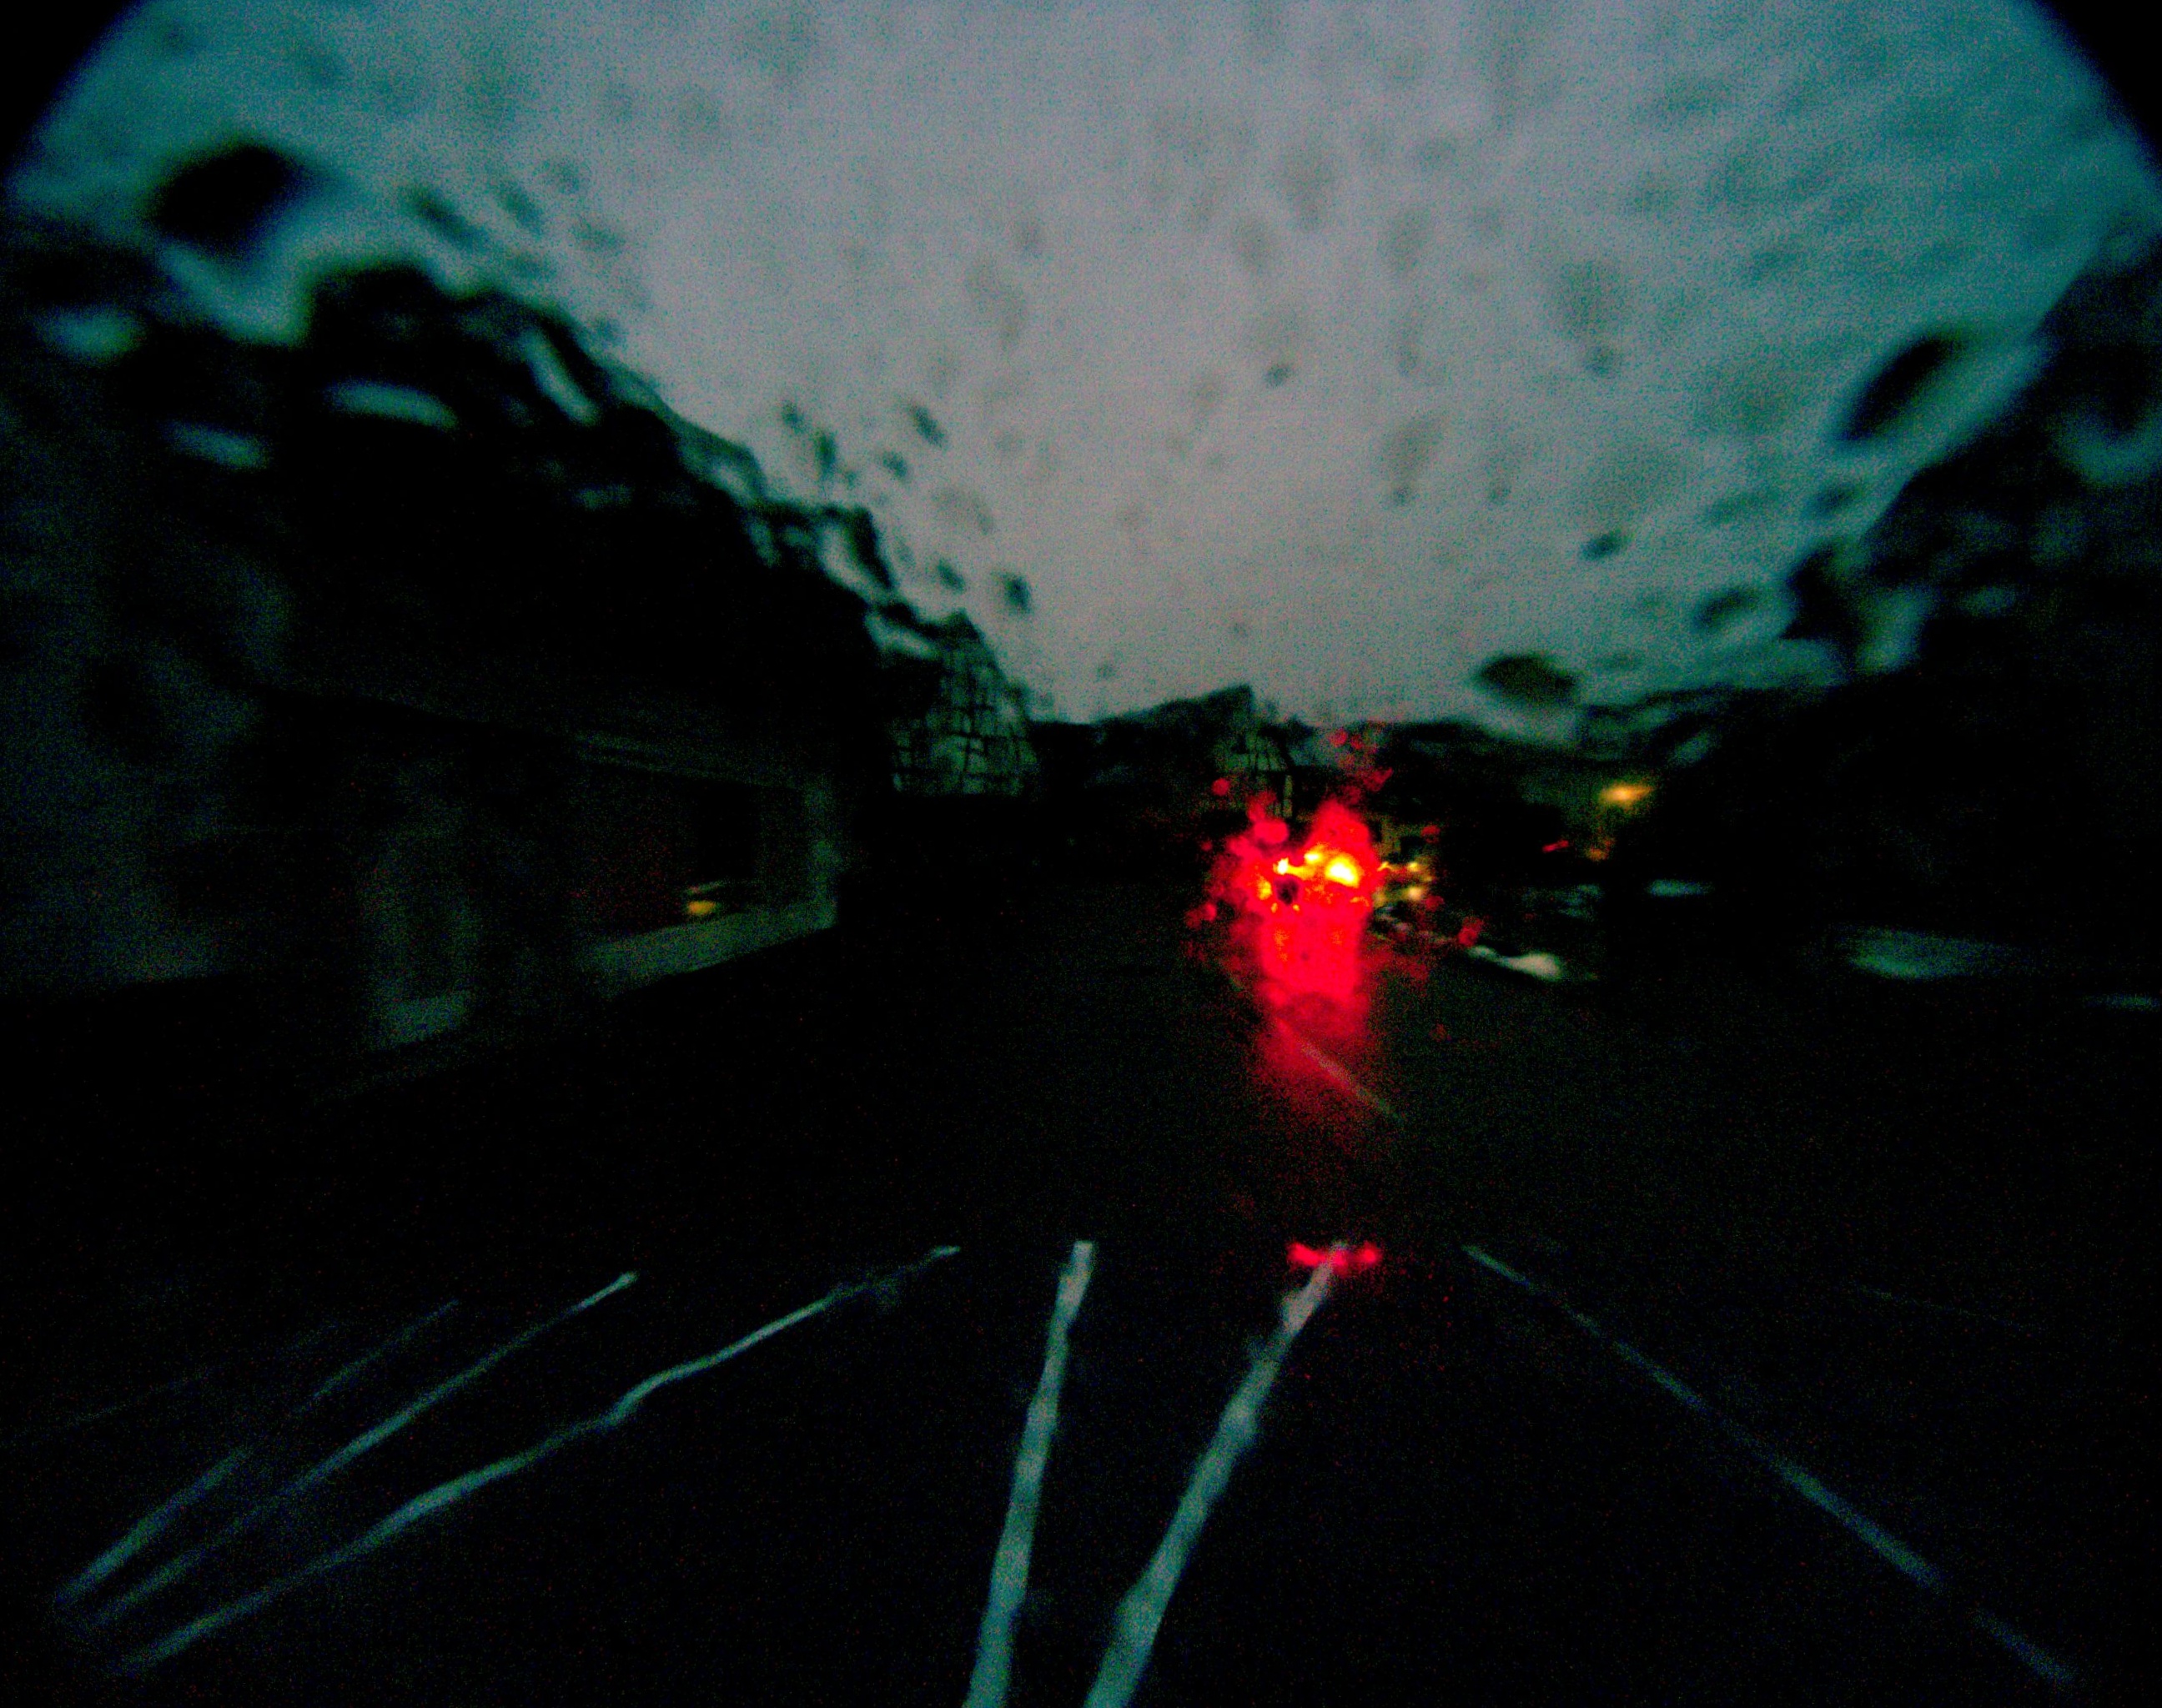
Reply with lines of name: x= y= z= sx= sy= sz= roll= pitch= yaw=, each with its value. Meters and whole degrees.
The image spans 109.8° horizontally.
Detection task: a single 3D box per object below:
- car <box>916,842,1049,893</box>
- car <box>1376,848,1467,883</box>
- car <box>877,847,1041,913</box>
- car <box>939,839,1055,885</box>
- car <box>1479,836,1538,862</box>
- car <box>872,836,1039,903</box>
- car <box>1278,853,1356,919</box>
car: x=-3.288 y=0.436 z=25.137 sx=4.042 sy=1.413 sz=1.812 roll=3 pitch=2 yaw=-18
car: x=16.741 y=0.534 z=37.305 sx=4.163 sy=1.569 sz=1.995 roll=-2 pitch=0 yaw=-31
car: x=-3.182 y=0.656 z=19.635 sx=3.897 sy=1.442 sz=1.885 roll=3 pitch=2 yaw=-18
car: x=-3.156 y=0.314 z=28.716 sx=3.990 sy=1.507 sz=1.593 roll=2 pitch=2 yaw=-25
car: x=28.626 y=-0.386 z=50.990 sx=1.649 sy=1.498 sz=3.486 roll=-1 pitch=4 yaw=-7
car: x=-3.680 y=0.455 z=22.135 sx=4.481 sy=1.651 sz=1.851 roll=3 pitch=2 yaw=-19
car: x=6.737 y=0.814 z=21.526 sx=1.879 sy=1.603 sz=4.608 roll=-1 pitch=1 yaw=19
